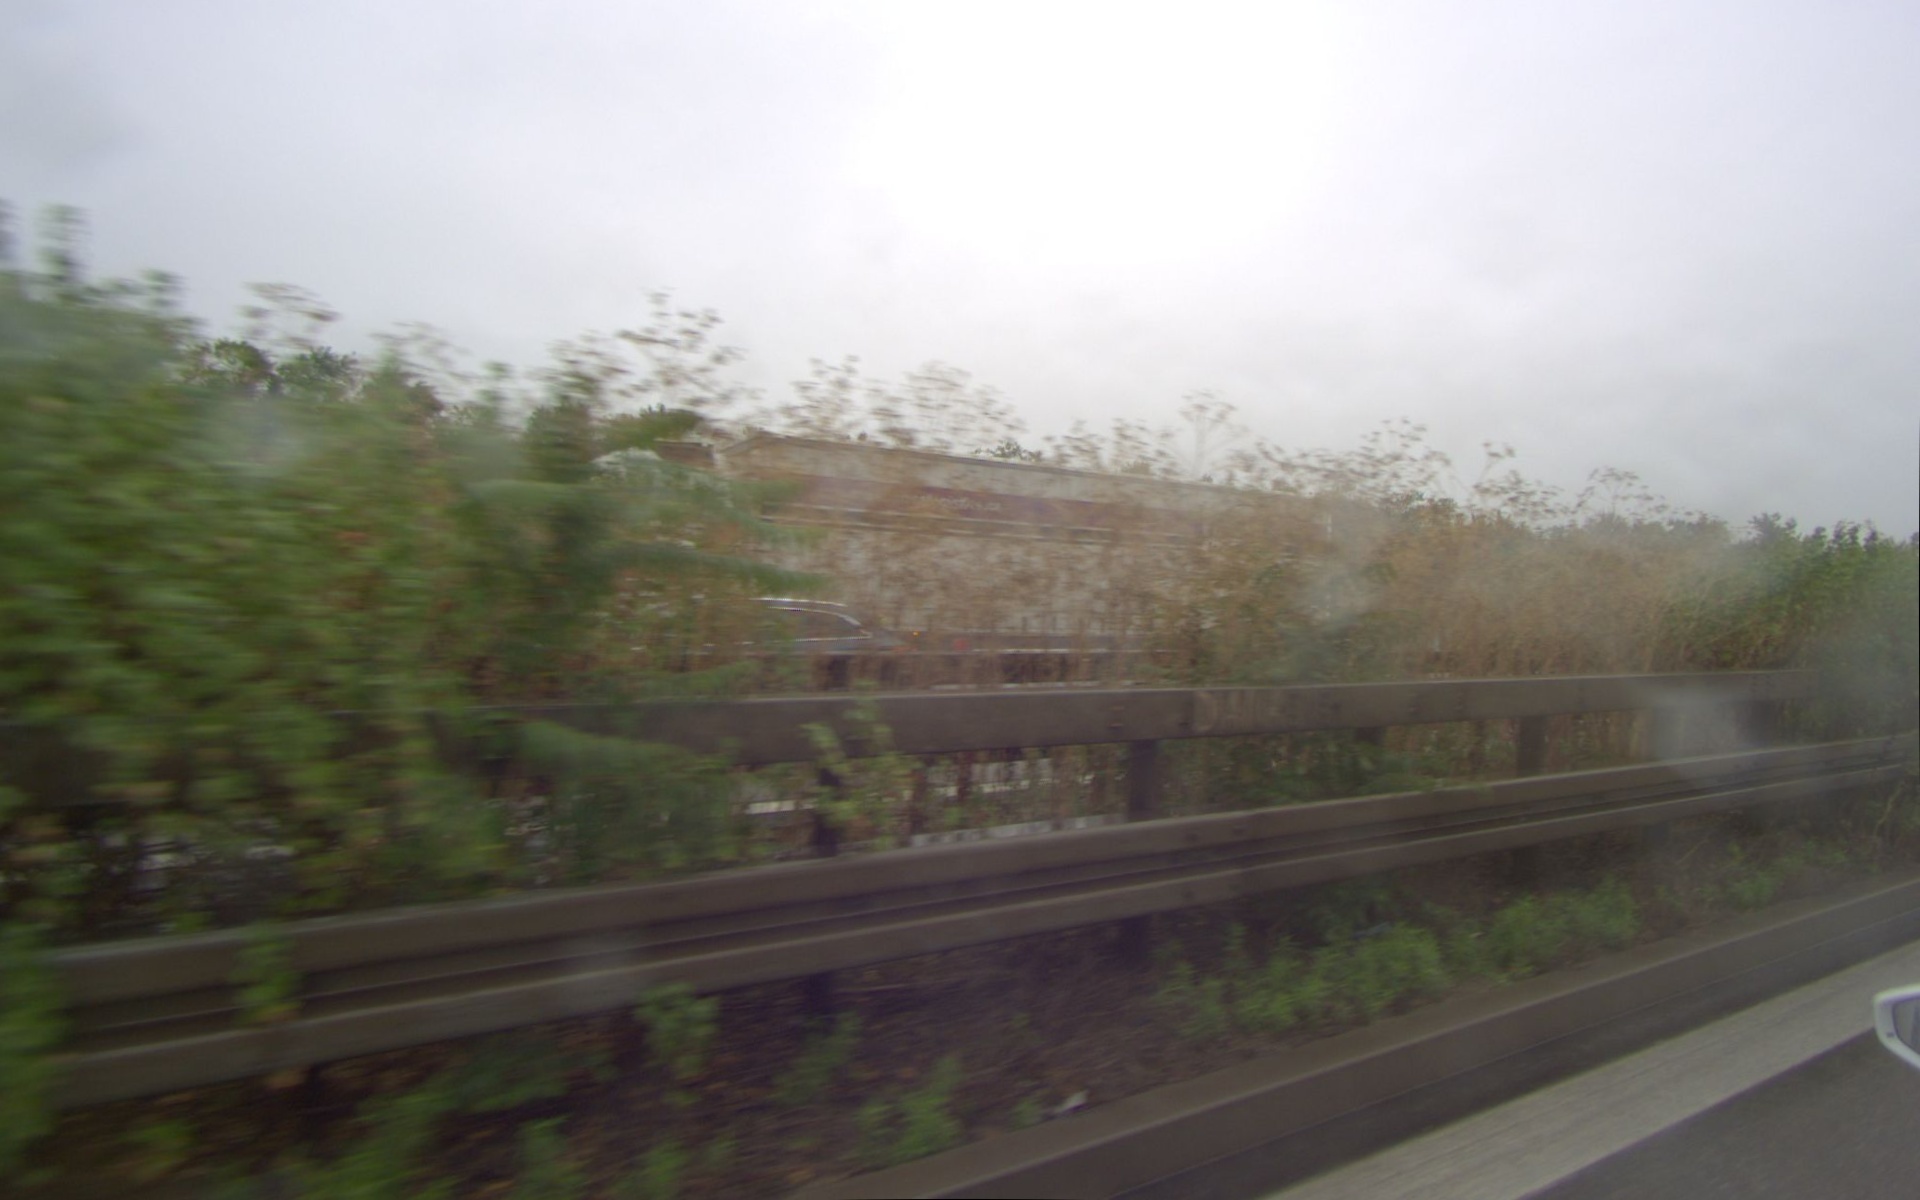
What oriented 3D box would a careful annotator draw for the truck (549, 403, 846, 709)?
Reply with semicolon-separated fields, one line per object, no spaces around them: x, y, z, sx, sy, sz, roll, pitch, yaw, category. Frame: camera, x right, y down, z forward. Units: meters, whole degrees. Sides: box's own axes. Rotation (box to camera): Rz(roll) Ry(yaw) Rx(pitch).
-4.230;-0.574;16.179;4.031;4.283;2.515;1;0;-31;truck

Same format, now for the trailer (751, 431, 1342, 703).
2.393;-0.367;20.212;12.795;4.277;2.505;2;0;-31;trailer
